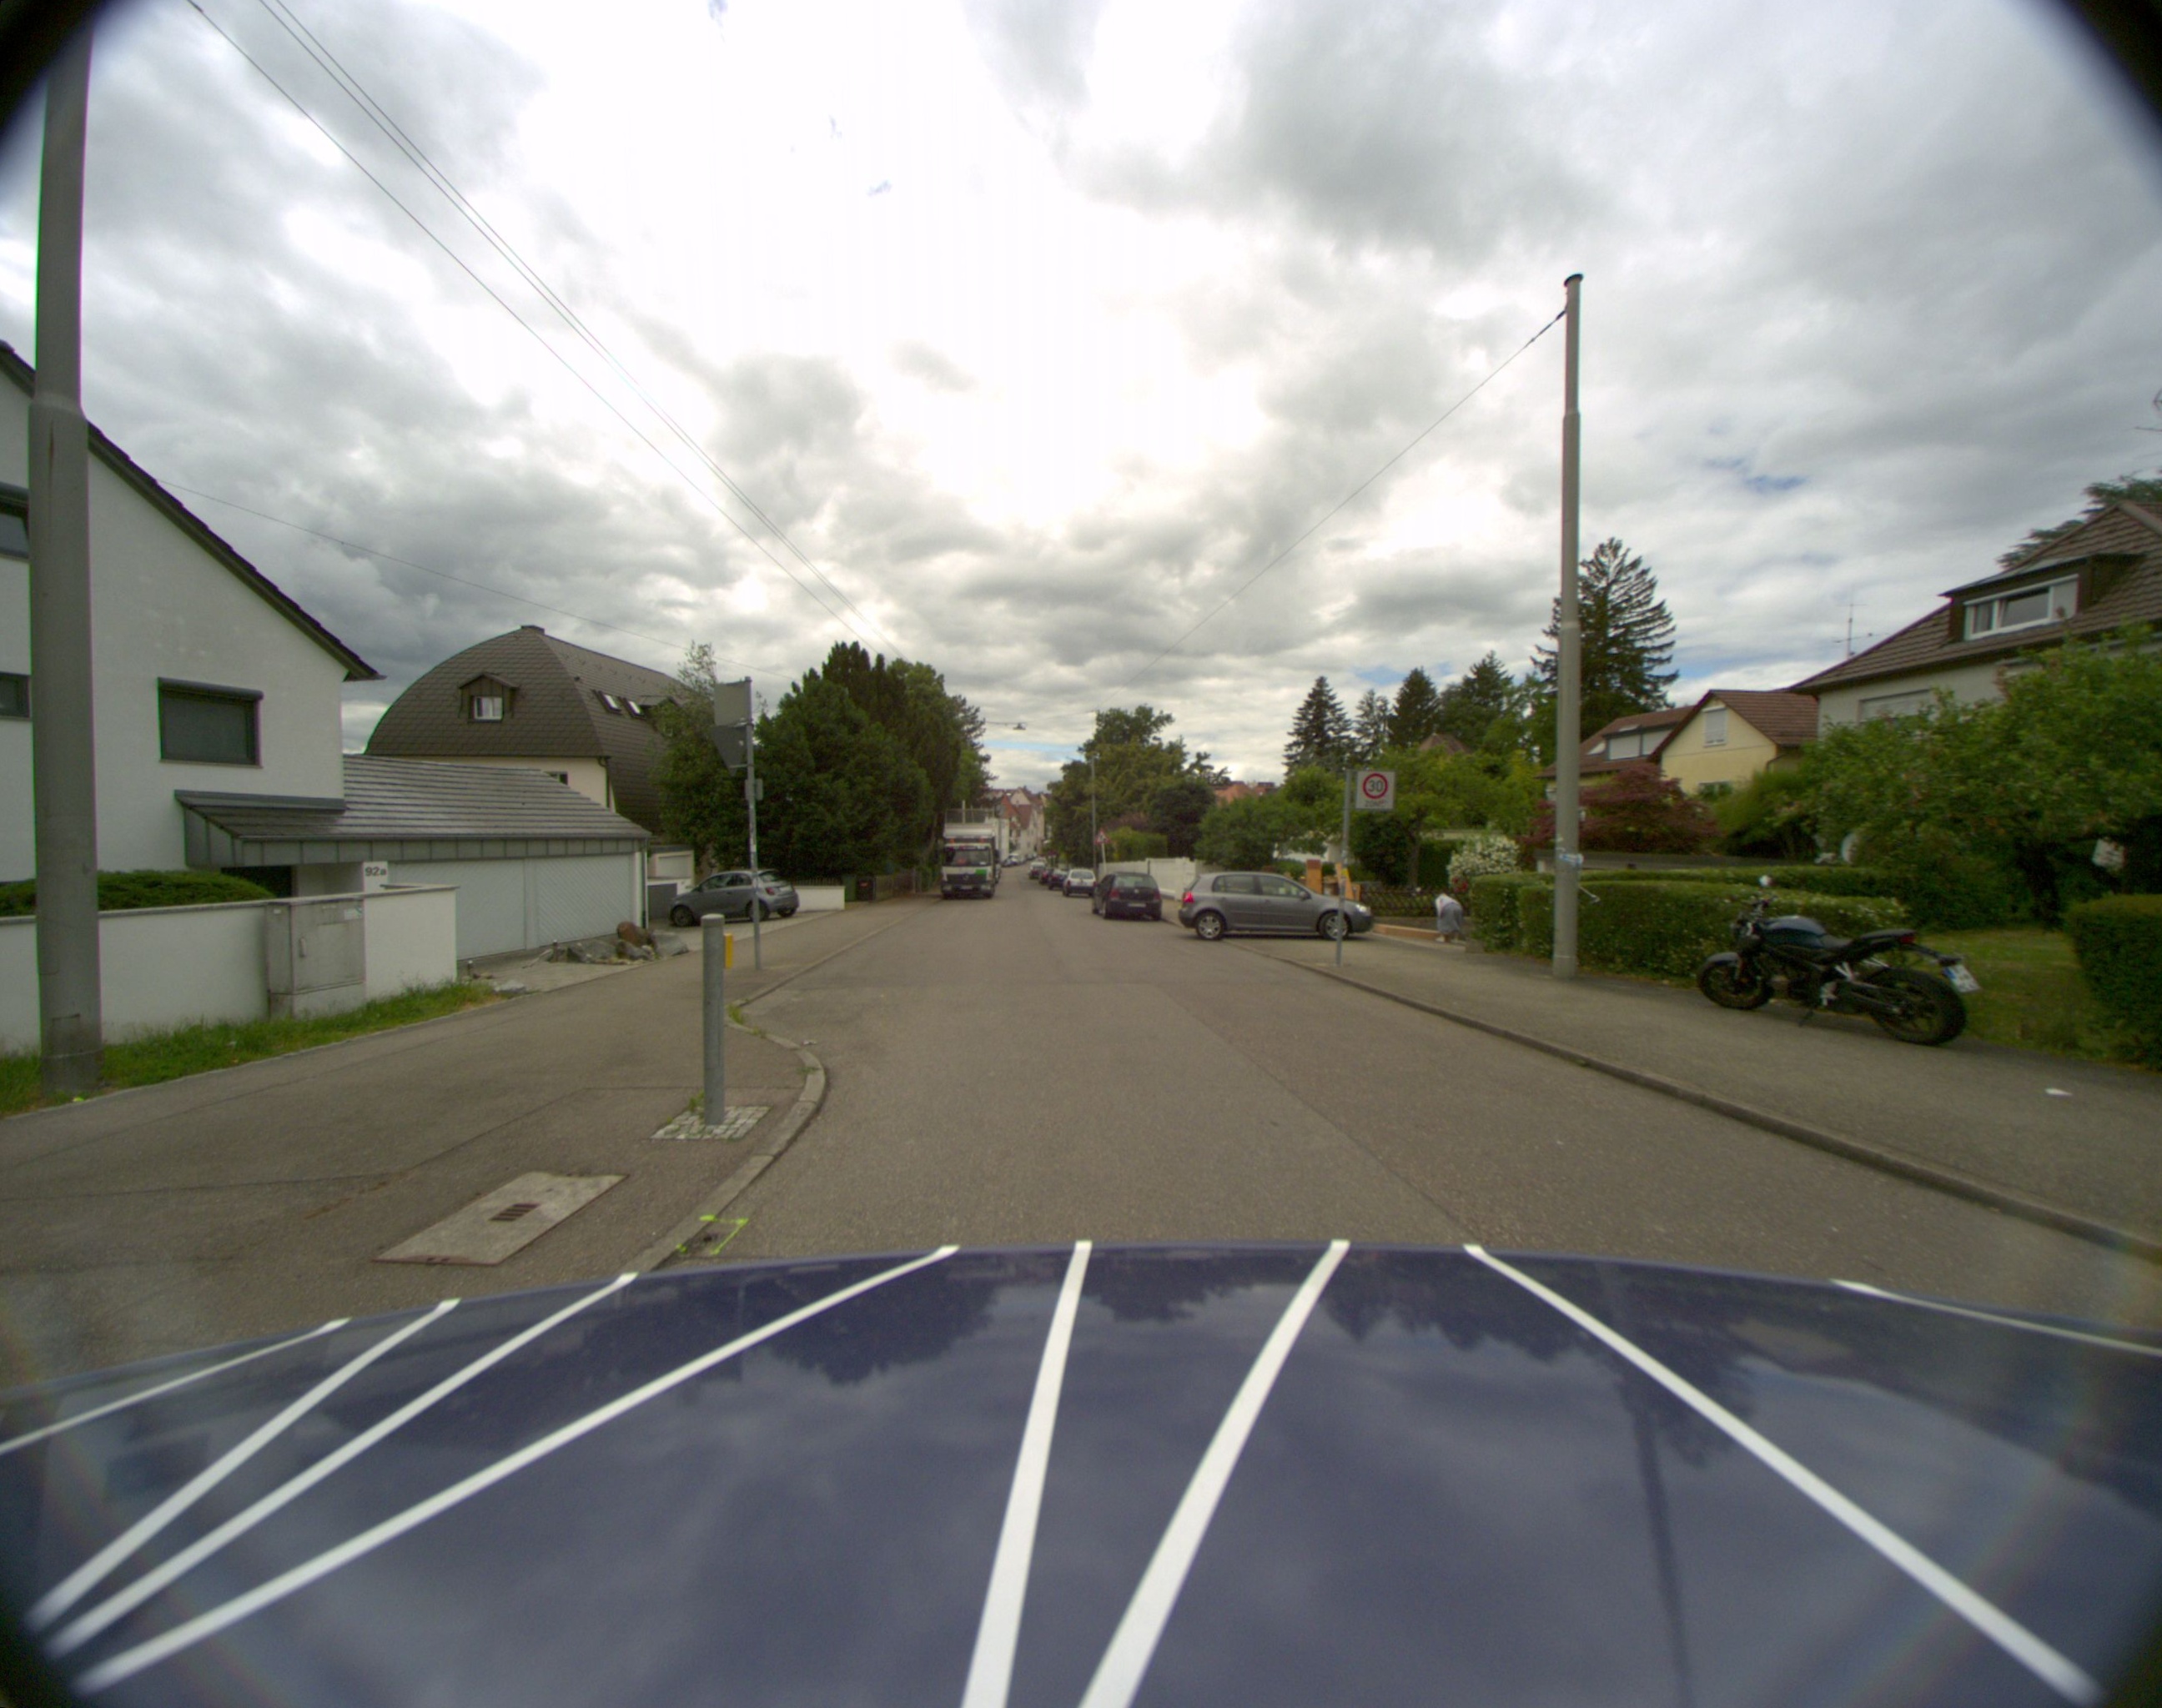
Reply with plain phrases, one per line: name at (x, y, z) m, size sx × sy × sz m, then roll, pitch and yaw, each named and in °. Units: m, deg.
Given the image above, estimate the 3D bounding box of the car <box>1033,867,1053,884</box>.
car at (-4.328, 2.399, 86.094) m, size 1.888 × 1.746 × 3.700 m, roll 0°, pitch 0°, yaw -8°

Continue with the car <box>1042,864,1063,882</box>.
car at (-2.393, 1.594, 63.390) m, size 1.539 × 1.459 × 3.312 m, roll 3°, pitch -2°, yaw -5°

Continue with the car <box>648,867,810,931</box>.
car at (-10.153, 1.293, 22.028) m, size 3.853 × 1.488 × 1.693 m, roll -4°, pitch 0°, yaw 9°

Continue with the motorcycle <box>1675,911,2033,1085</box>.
motorcycle at (6.613, 1.144, 6.724) m, size 0.775 × 1.133 × 2.144 m, roll 0°, pitch 0°, yaw -12°

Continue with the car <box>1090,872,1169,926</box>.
car at (1.423, 1.325, 23.594) m, size 1.759 × 1.435 × 3.800 m, roll 2°, pitch -1°, yaw -6°

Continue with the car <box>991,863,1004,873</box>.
car at (-13.247, 2.216, 120.863) m, size 1.876 × 1.543 × 3.823 m, roll 0°, pitch 0°, yaw -5°

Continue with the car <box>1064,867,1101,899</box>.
car at (0.026, 1.461, 39.475) m, size 1.621 × 1.460 × 3.311 m, roll 3°, pitch 0°, yaw -5°

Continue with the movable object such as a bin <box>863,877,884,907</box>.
movable object such as a bin at (-7.934, 1.443, 29.138) m, size 0.600 × 1.098 × 0.951 m, roll -3°, pitch -2°, yaw -8°

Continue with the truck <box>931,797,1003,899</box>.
truck at (-5.543, -0.243, 37.738) m, size 3.155 × 4.524 × 7.948 m, roll 0°, pitch 0°, yaw -7°

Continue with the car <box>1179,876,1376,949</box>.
car at (4.275, 1.241, 16.840) m, size 3.993 × 1.453 × 1.739 m, roll -1°, pitch 0°, yaw 13°

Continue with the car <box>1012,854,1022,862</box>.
car at (-12.663, 0.716, 150.969) m, size 1.876 × 1.543 × 3.823 m, roll 0°, pitch 0°, yaw -5°

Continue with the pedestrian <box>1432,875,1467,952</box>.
pedestrian at (8.826, 1.399, 18.208) m, size 0.645 × 1.794 × 0.614 m, roll 0°, pitch 1°, yaw 15°

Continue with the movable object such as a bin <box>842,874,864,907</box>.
movable object such as a bin at (-8.708, 1.397, 28.988) m, size 0.600 × 1.200 × 0.951 m, roll -3°, pitch -2°, yaw -8°

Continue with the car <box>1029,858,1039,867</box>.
car at (-6.972, 1.251, 111.964) m, size 1.425 × 1.277 × 3.311 m, roll 3°, pitch 0°, yaw -5°

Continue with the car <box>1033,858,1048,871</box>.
car at (-4.908, 1.239, 91.938) m, size 1.621 × 1.460 × 3.311 m, roll 3°, pitch 0°, yaw -5°

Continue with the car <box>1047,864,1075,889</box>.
car at (-1.332, 1.469, 49.806) m, size 1.621 × 1.460 × 3.311 m, roll 3°, pitch 0°, yaw -5°
